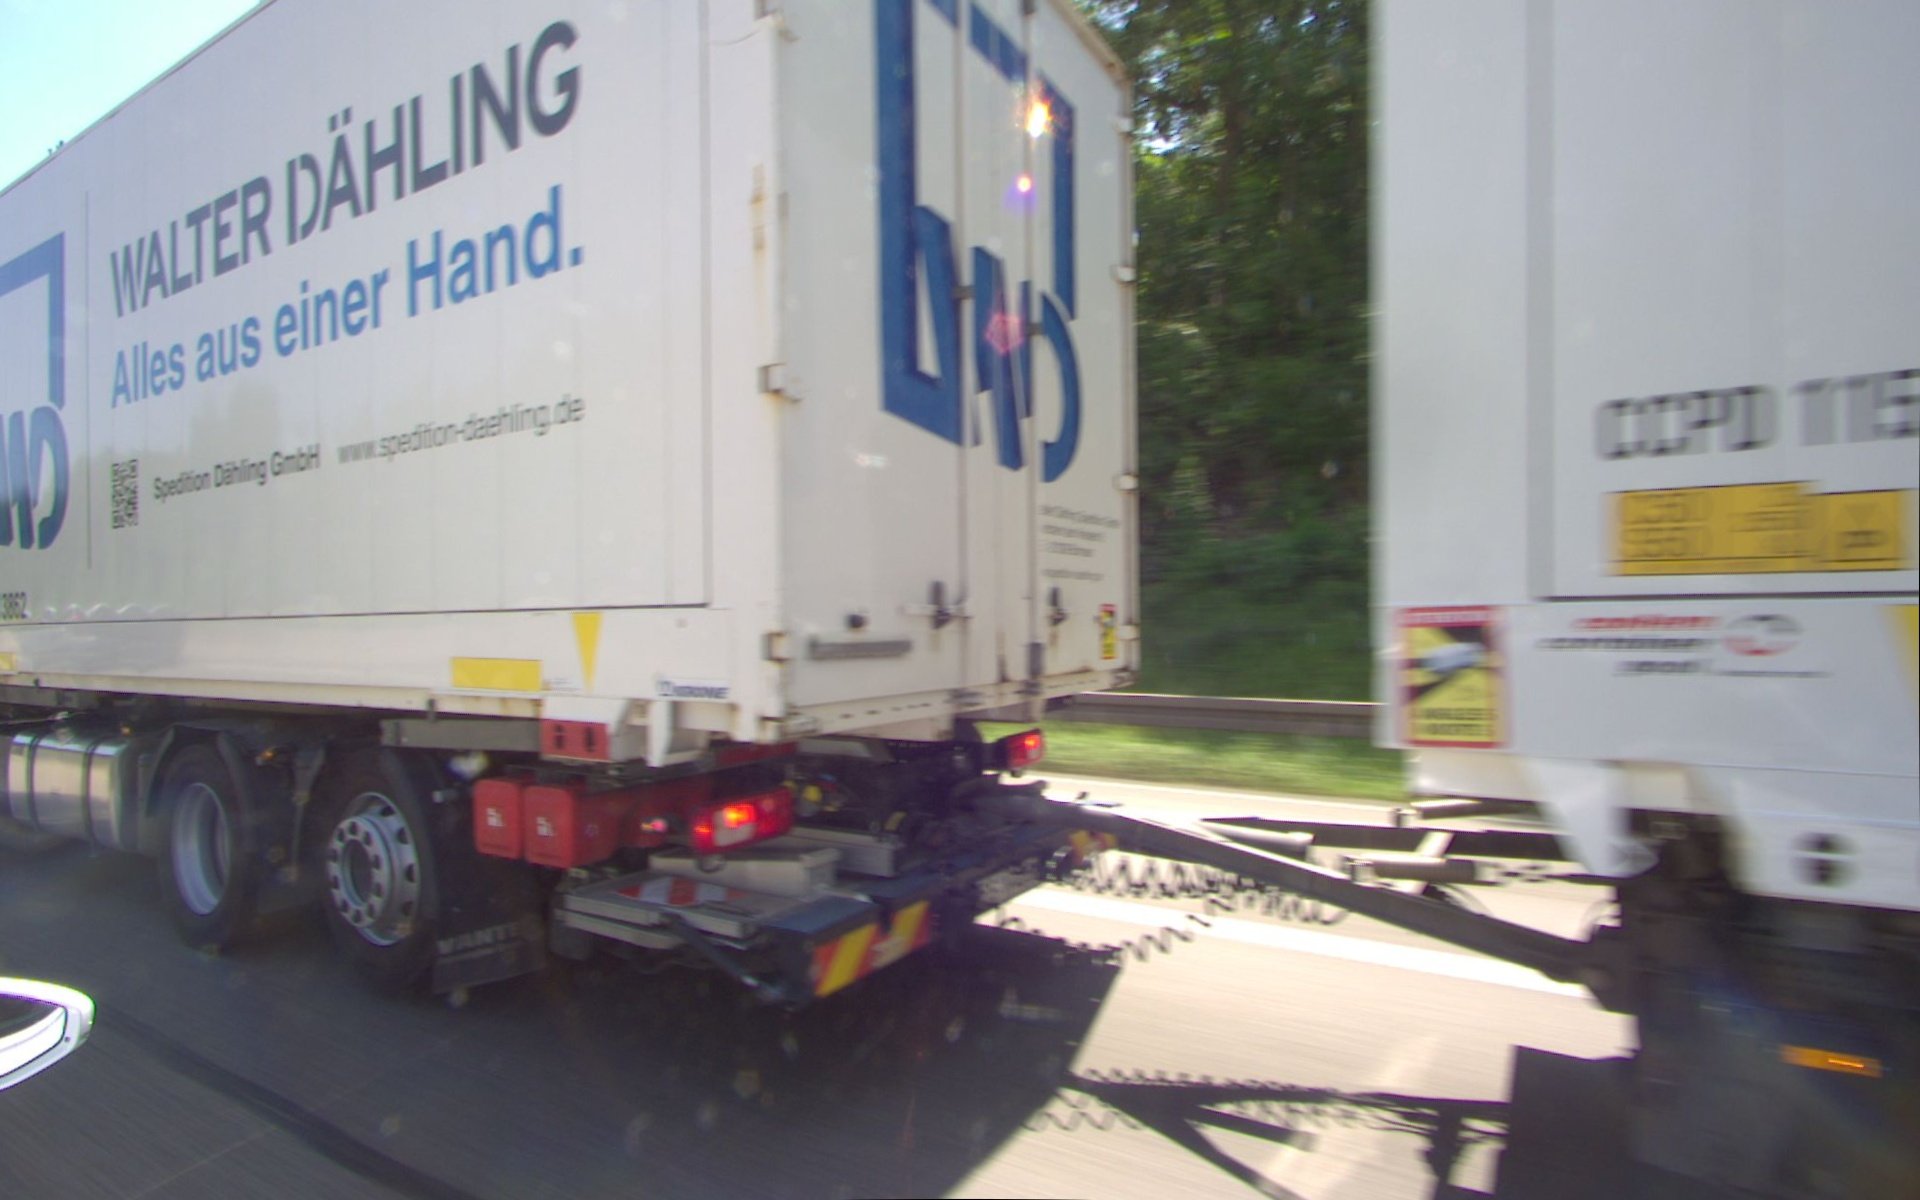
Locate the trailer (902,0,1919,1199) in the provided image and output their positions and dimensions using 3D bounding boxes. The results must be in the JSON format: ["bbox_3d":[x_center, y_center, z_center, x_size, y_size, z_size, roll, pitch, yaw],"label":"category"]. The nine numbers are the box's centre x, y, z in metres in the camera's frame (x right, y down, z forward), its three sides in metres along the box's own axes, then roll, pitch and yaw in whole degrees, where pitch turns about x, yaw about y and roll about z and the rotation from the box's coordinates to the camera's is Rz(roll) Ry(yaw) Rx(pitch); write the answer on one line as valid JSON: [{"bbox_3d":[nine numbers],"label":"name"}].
[{"bbox_3d":[4.785,-0.679,0.818,9.919,4.230,2.675,0,-1,32],"label":"trailer"}]

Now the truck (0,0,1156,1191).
[{"bbox_3d":[-4.185,-0.514,6.572,10.473,4.112,2.675,0,-1,33],"label":"truck"}]
